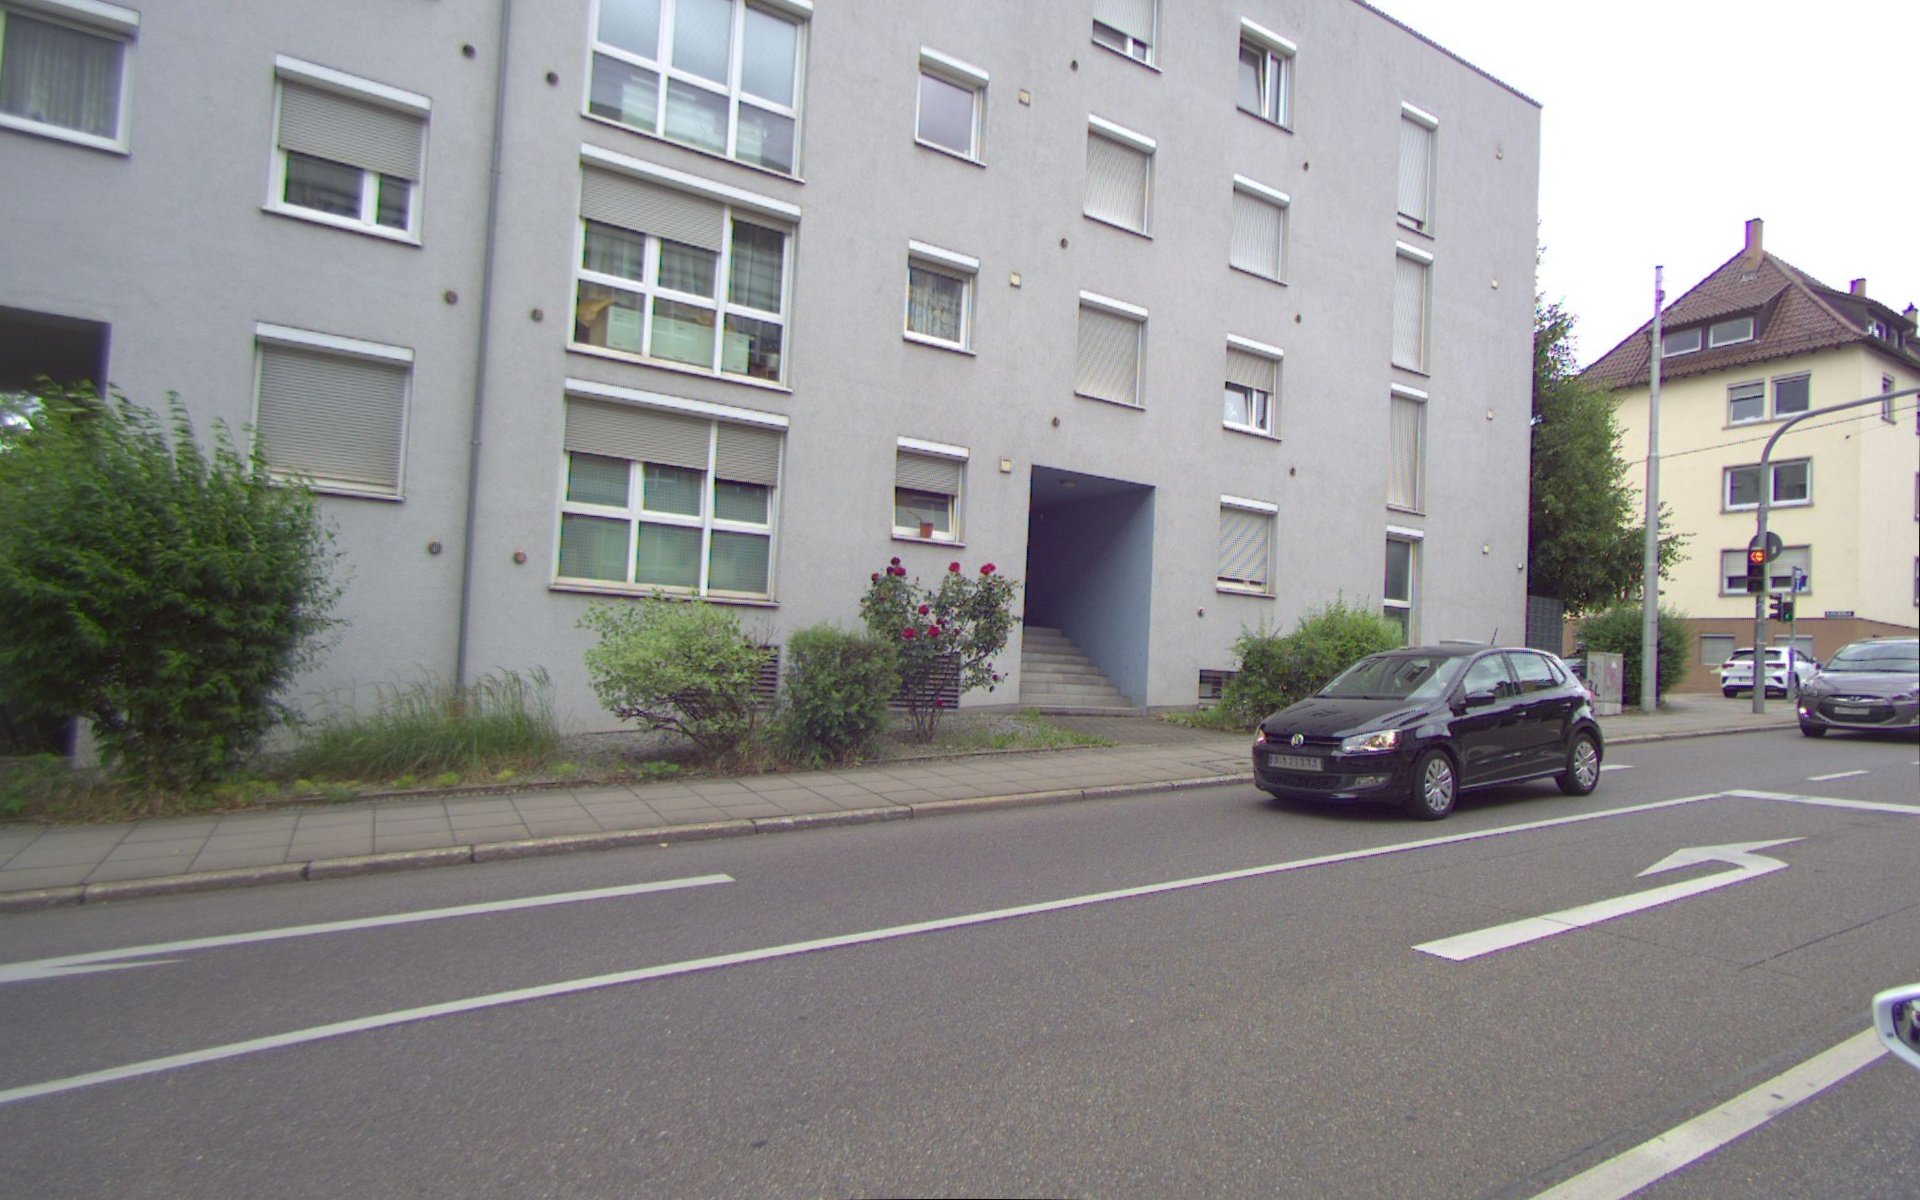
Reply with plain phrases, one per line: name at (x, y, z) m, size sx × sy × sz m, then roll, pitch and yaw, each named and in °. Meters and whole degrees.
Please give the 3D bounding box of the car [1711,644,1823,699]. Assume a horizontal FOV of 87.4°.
car at (25.166, 2.196, 31.304) m, size 3.727 × 1.575 × 1.681 m, roll 1°, pitch -4°, yaw -34°

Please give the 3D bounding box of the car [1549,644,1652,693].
car at (22.677, 2.403, 35.538) m, size 3.727 × 1.629 × 1.681 m, roll 1°, pitch -4°, yaw -34°

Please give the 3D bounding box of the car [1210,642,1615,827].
car at (4.330, 1.134, 9.504) m, size 3.752 × 1.418 × 1.665 m, roll 1°, pitch -4°, yaw -32°

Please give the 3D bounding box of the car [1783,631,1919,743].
car at (15.144, 1.331, 16.142) m, size 3.890 × 1.607 × 1.696 m, roll 1°, pitch -4°, yaw -31°
